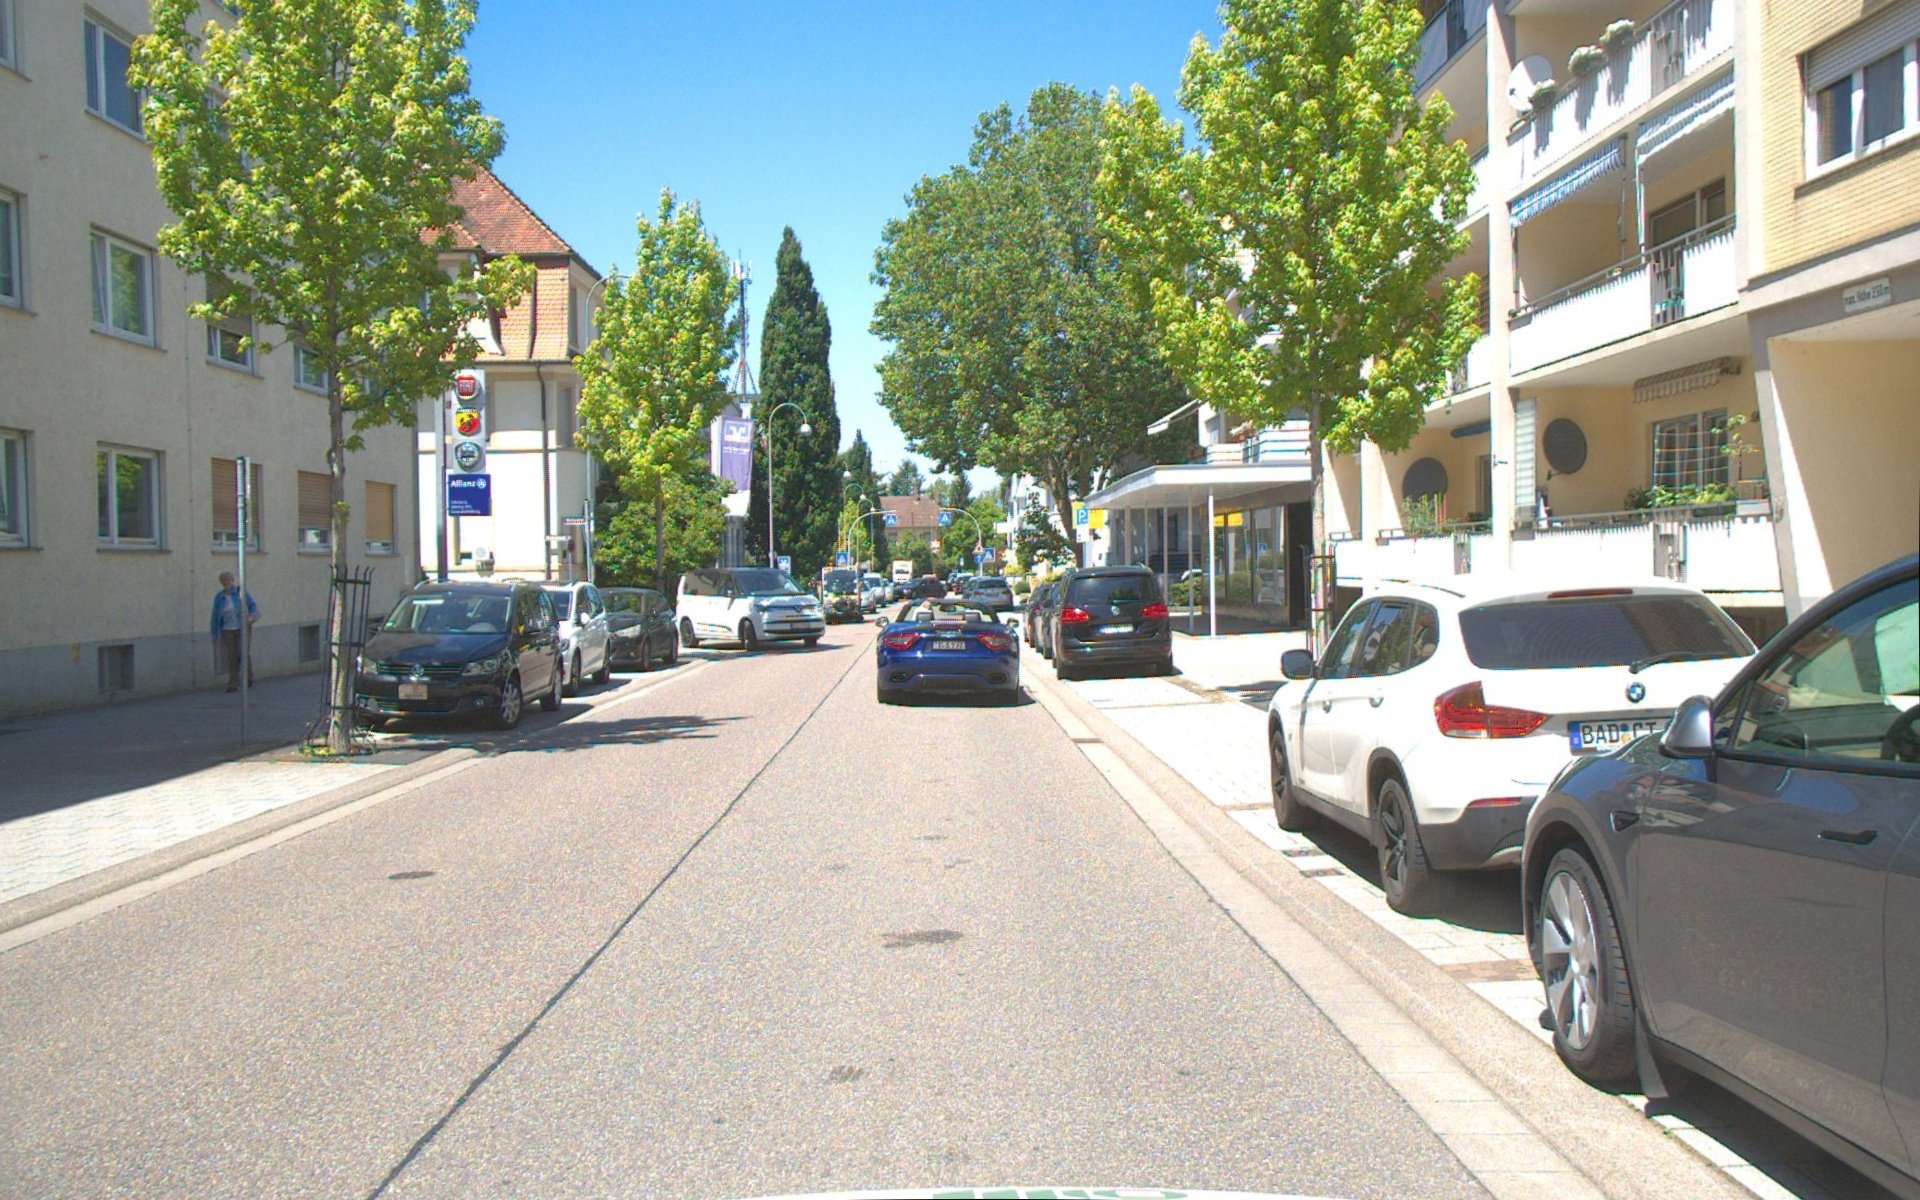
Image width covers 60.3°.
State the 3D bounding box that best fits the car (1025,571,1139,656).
[{"bbox_3d":[2.367,0.242,33.194,1.856,1.557,4.568,-1,0,-1],"label":"car"}]

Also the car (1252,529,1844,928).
[{"bbox_3d":[2.793,0.519,8.918,1.687,1.611,4.225,-1,0,0],"label":"car"}]

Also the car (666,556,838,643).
[{"bbox_3d":[-5.103,-0.018,40.093,1.894,1.956,4.837,-1,0,-38],"label":"car"}]

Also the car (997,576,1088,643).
[{"bbox_3d":[1.856,0.205,38.358,1.807,1.439,4.162,-1,0,-1],"label":"car"}]

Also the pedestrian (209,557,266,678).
[{"bbox_3d":[-10.496,0.240,24.050,0.646,1.709,0.628,-2,3,-19],"label":"pedestrian"}]

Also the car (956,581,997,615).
[{"bbox_3d":[0.828,-0.134,85.975,1.936,1.584,4.349,-1,1,-1],"label":"car"}]

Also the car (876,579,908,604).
[{"bbox_3d":[-4.238,-0.521,103.131,1.911,1.502,4.136,-1,1,-2],"label":"car"}]

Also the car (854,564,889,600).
[{"bbox_3d":[-4.640,-0.955,86.989,1.734,1.798,4.136,-1,1,-3],"label":"car"}]

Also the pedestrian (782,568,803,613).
[{"bbox_3d":[-7.433,-0.409,73.452,0.831,1.948,0.761,-1,3,0],"label":"pedestrian"}]

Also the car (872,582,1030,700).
[{"bbox_3d":[-0.222,0.487,22.732,1.937,1.422,4.624,1,0,-3],"label":"car"}]

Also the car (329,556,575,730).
[{"bbox_3d":[-5.949,0.428,19.917,1.694,1.770,4.390,3,1,-3],"label":"car"}]

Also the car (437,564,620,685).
[{"bbox_3d":[-6.496,0.300,25.384,1.787,1.647,4.391,2,1,-3],"label":"car"}]

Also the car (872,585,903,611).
[{"bbox_3d":[-4.275,-0.133,97.969,1.734,1.502,4.136,-1,1,-2],"label":"car"}]

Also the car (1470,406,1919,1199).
[{"bbox_3d":[2.721,0.476,3.531,1.728,1.735,4.705,-1,0,-1],"label":"car"}]

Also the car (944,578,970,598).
[{"bbox_3d":[-0.245,-0.967,130.652,1.911,1.502,4.136,-1,1,-2],"label":"car"}]

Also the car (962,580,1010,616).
[{"bbox_3d":[1.120,-0.113,73.735,1.936,1.475,4.349,-1,2,-1],"label":"car"}]

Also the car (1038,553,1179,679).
[{"bbox_3d":[2.361,0.182,27.318,1.952,1.830,4.570,-1,2,1],"label":"car"}]

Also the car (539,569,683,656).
[{"bbox_3d":[-6.570,0.205,31.587,1.718,1.499,4.322,2,0,1],"label":"car"}]

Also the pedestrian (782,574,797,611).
[{"bbox_3d":[-7.565,-0.333,73.457,0.575,1.602,0.781,0,0,-2],"label":"pedestrian"}]

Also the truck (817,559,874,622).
[{"bbox_3d":[-4.083,-0.363,59.651,1.768,2.154,4.714,-1,1,-1],"label":"truck"}]
